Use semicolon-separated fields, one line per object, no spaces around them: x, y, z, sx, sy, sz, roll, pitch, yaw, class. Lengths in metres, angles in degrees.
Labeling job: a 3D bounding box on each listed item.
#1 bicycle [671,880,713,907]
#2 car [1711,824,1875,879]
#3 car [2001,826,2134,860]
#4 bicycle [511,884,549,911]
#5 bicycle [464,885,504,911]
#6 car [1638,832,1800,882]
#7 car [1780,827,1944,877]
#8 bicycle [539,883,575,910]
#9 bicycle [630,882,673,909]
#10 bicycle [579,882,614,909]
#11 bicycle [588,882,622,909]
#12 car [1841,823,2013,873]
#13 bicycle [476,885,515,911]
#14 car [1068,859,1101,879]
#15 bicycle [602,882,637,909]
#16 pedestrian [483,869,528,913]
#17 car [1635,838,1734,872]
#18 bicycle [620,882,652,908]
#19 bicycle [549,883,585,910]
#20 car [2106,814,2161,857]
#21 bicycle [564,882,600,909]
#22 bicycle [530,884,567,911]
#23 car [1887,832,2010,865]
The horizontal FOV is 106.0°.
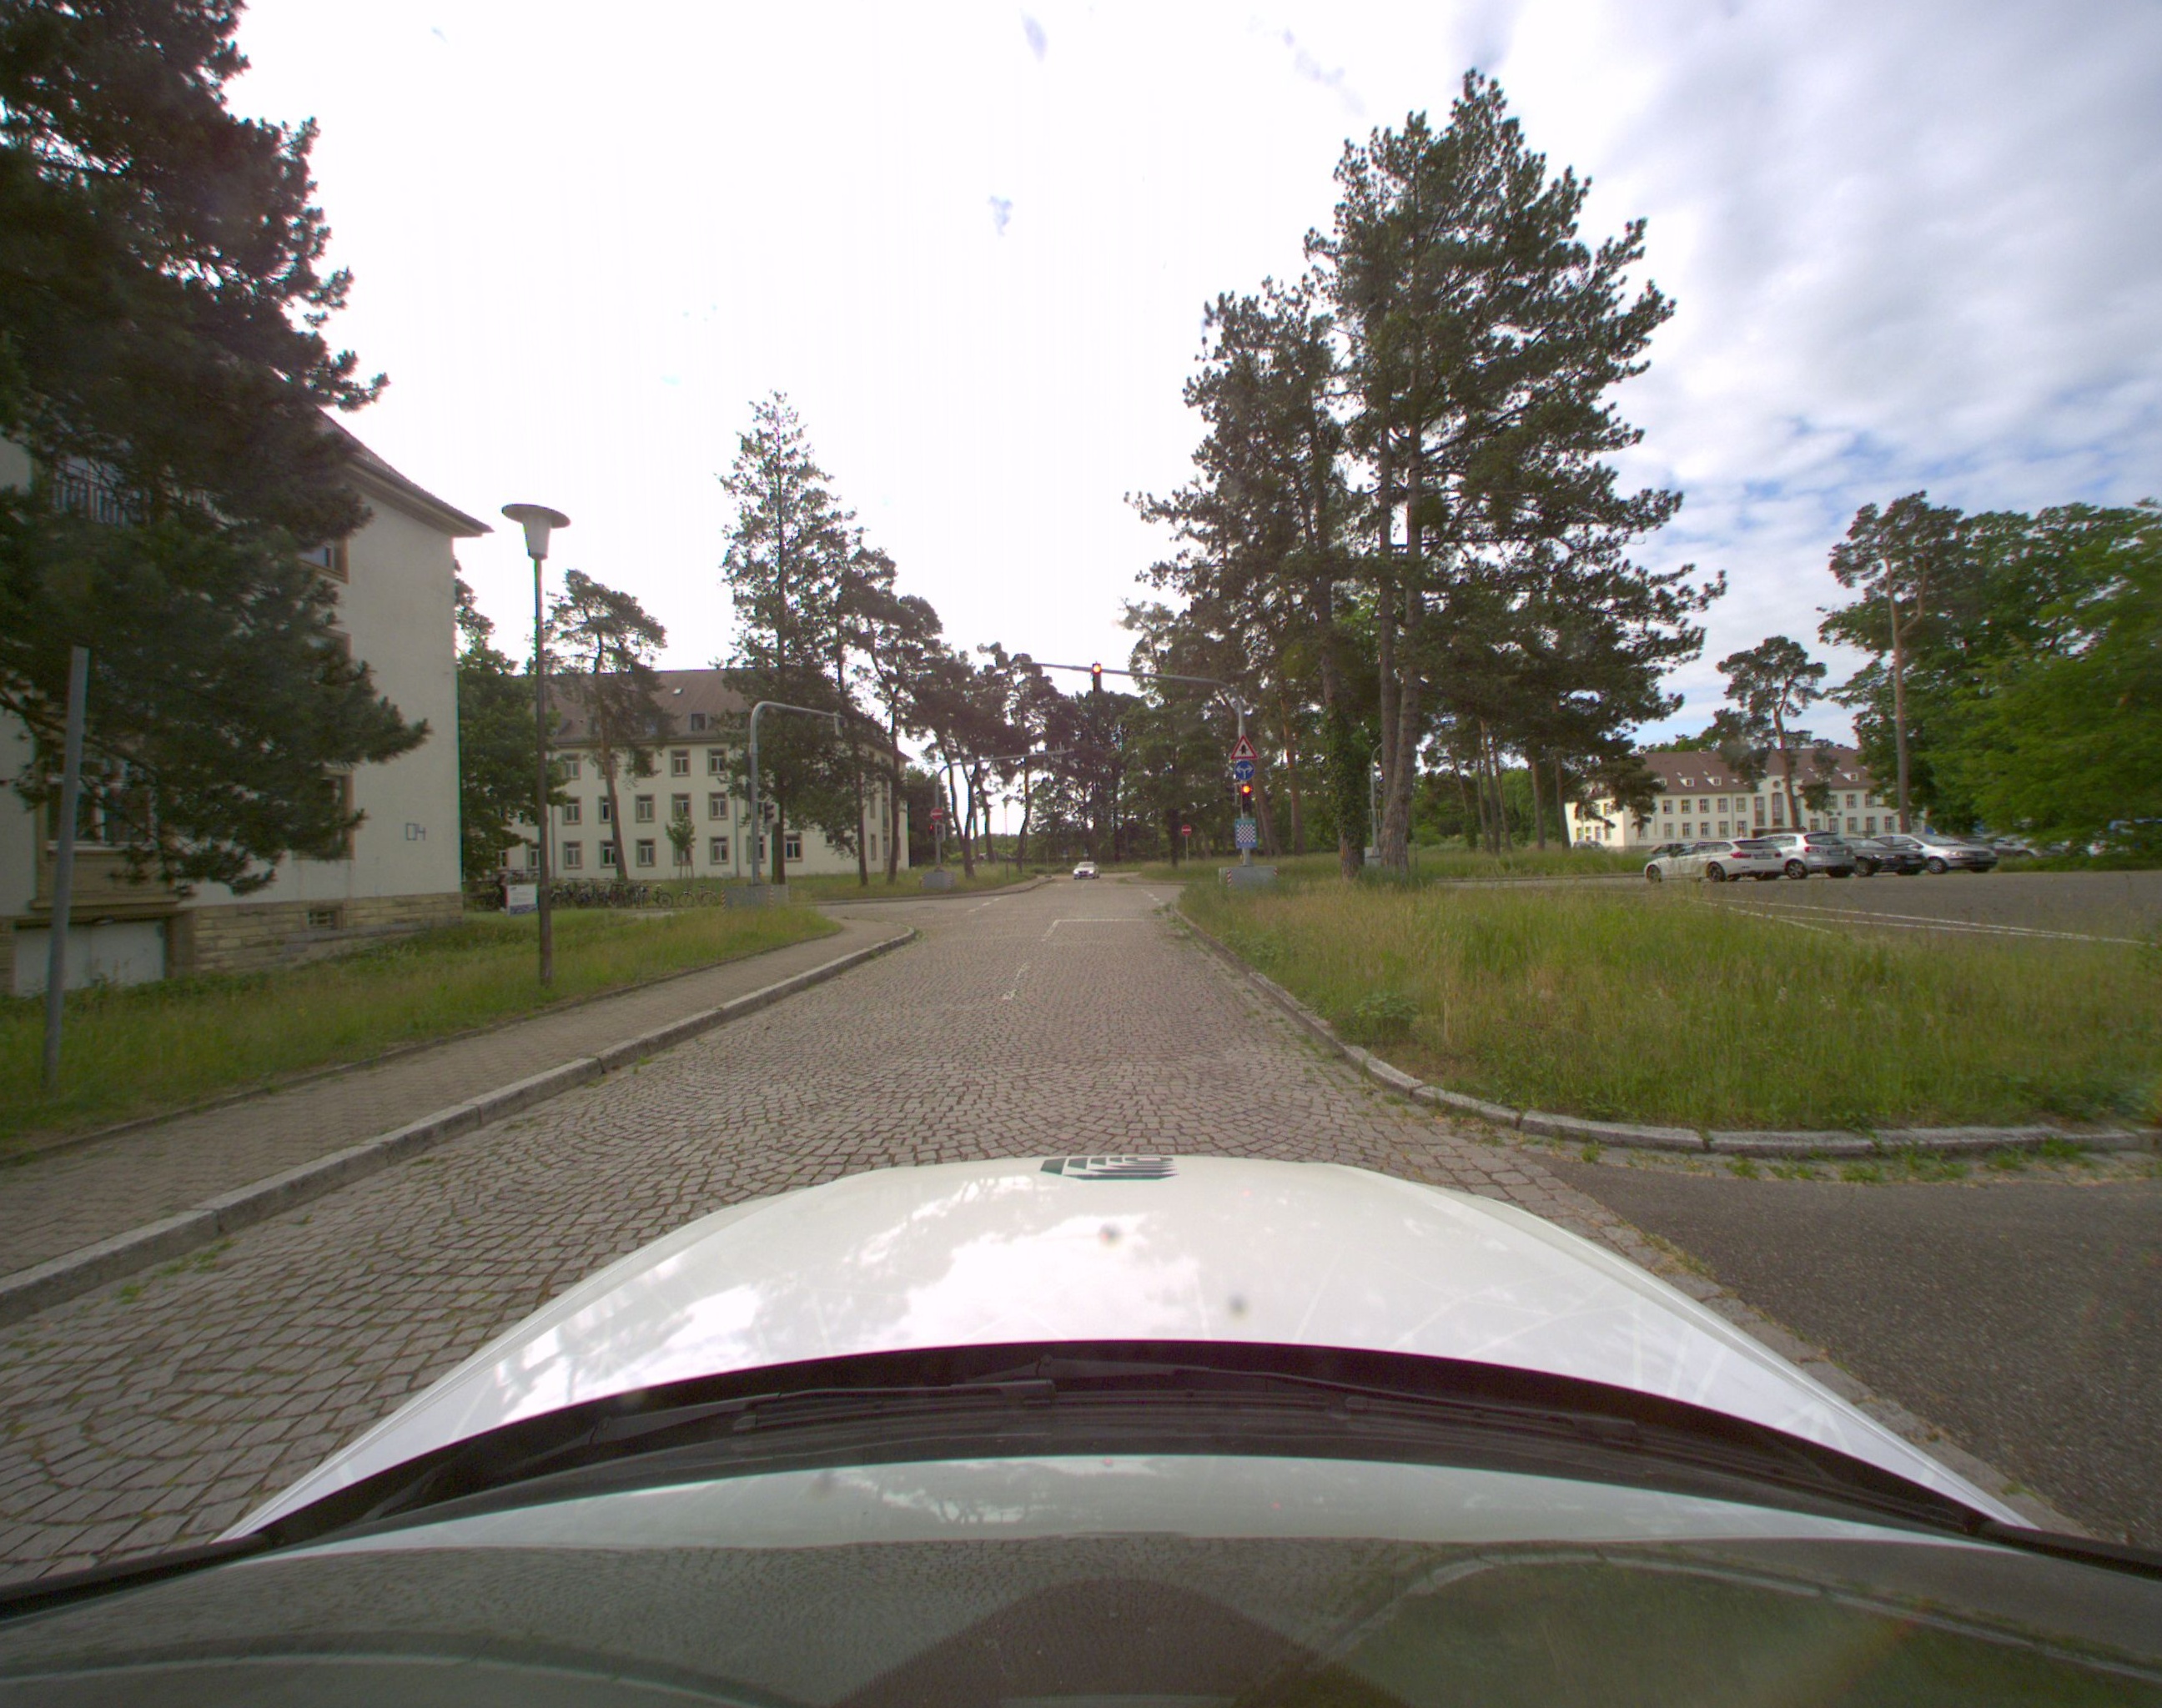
-16.475;1.662;34.507;1.460;1.065;0.516;-2;-1;-1;bicycle
24.306;-0.016;28.047;1.777;1.606;4.240;-2;-3;-2;car
47.372;-0.524;39.258;1.608;1.502;4.252;-1;0;7;car
-24.128;1.903;35.689;0.512;1.079;1.586;-2;-1;2;bicycle
-26.157;1.920;35.722;0.512;1.079;1.586;-2;-1;2;bicycle
21.669;0.159;27.950;1.843;1.487;4.605;-1;-3;-1;car
26.937;-0.010;28.324;1.694;1.485;4.245;-2;-3;3;car
-22.948;1.850;35.690;0.512;1.079;1.586;-2;-1;2;bicycle
-18.111;1.744;34.348;1.460;1.079;0.516;-2;-1;-1;bicycle
-21.243;1.805;35.757;0.512;1.079;1.586;-2;-1;2;bicycle
-20.882;1.803;35.750;0.512;1.079;1.586;-2;-1;2;bicycle
29.679;-0.154;28.793;1.694;1.485;4.245;-2;-3;3;car
-25.656;1.918;35.730;0.512;1.079;1.586;-2;-1;2;bicycle
0.311;1.239;68.485;1.761;1.438;4.234;-5;0;13;car
-20.180;1.799;35.654;0.512;1.079;1.587;-2;-1;4;bicycle
-24.749;1.565;35.041;1.050;1.788;1.165;-2;1;29;pedestrian
29.036;0.048;39.354;1.727;1.509;4.246;-1;0;3;car
-19.501;1.796;35.739;0.513;1.079;1.584;-2;-1;-1;bicycle
-22.496;1.845;35.695;0.512;1.079;1.586;-2;-1;2;bicycle
52.792;-0.911;38.758;2.127;2.026;4.795;-1;0;3;car
-21.874;1.819;35.713;0.512;1.079;1.586;-2;-1;2;bicycle
-23.332;1.881;35.684;0.512;1.079;1.586;-2;-1;2;bicycle
41.714;-0.272;39.312;1.725;1.472;4.252;-1;0;7;car
